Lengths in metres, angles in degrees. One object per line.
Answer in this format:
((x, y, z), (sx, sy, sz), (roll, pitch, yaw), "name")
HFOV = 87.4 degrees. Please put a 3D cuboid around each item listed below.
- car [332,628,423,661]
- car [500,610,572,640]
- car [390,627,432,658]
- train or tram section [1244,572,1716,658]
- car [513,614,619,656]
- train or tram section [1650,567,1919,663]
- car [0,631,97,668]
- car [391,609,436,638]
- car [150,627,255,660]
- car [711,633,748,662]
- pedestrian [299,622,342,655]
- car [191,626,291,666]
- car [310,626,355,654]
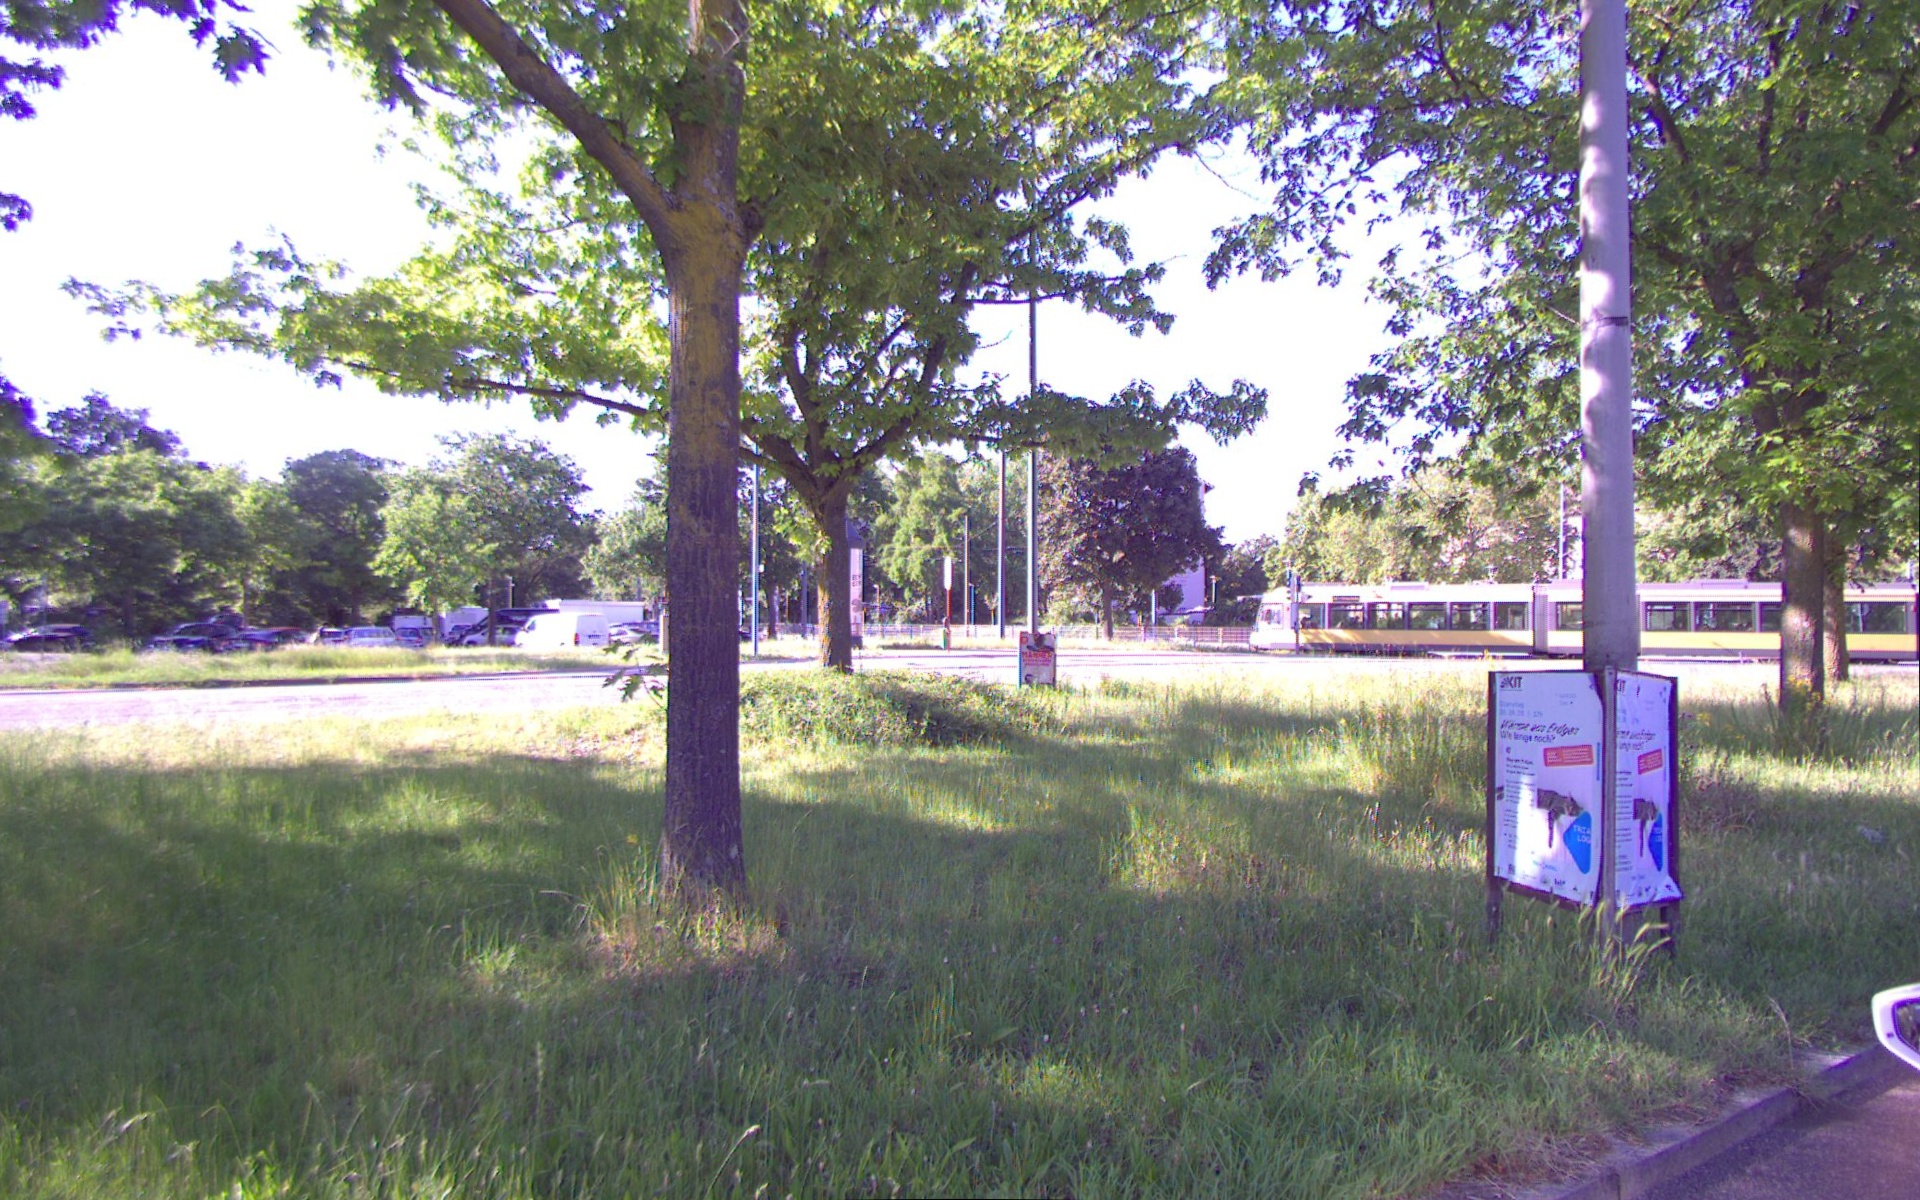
((-21.820, 1.647, 37.639), (2.769, 1.171, 1.326), (1, -1, -40), "car")
((-24.123, 1.431, 57.294), (3.698, 1.691, 1.883), (1, -1, -23), "car")
((-26.695, 2.045, 48.784), (1.602, 1.438, 3.050), (1, -1, -33), "car")
((23.309, 0.666, 47.048), (19.021, 3.559, 3.303), (0, -1, 26), "train or tram section")
((-17.212, 1.489, 43.805), (4.670, 1.762, 2.024), (0, -1, 34), "car")
((40.360, 0.634, 40.886), (20.387, 3.820, 3.308), (0, -1, 14), "train or tram section")
((-47.637, 2.518, 52.064), (1.966, 1.817, 3.990), (0, -1, 32), "car")
((-32.481, 1.384, 59.791), (1.865, 1.691, 3.733), (1, -1, -22), "car")
((-26.836, 1.517, 35.634), (1.315, 1.078, 2.777), (-1, -1, 42), "car")
((-12.024, 2.470, 52.491), (1.589, 1.438, 3.073), (0, -1, -8), "car")
((-26.307, 1.572, 41.333), (1.130, 1.292, 1.105), (0, -1, 33), "pedestrian")
((-25.227, 1.576, 35.249), (2.769, 1.323, 1.326), (1, -1, -40), "car")
((-29.287, 1.841, 46.870), (1.603, 1.194, 3.047), (1, -1, -35), "car")
